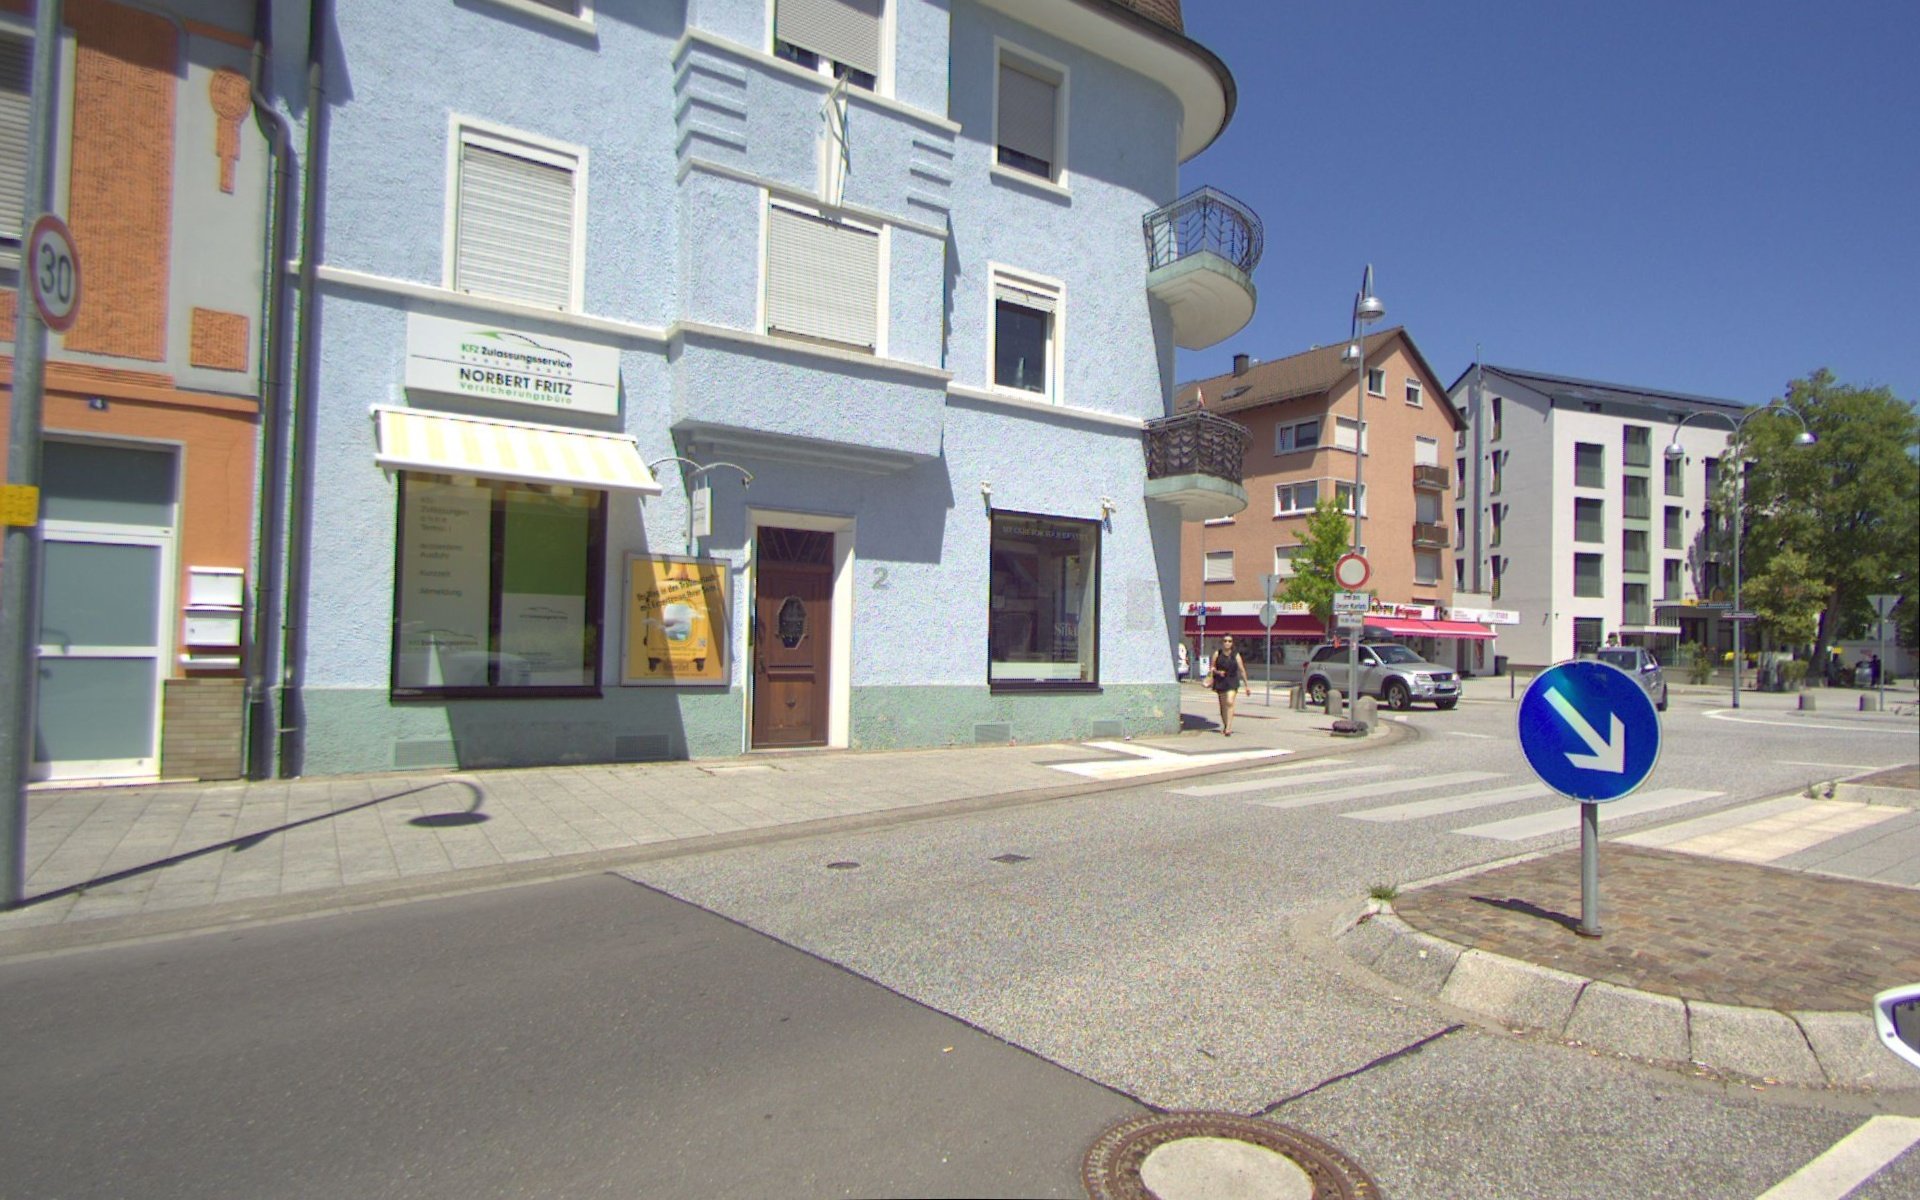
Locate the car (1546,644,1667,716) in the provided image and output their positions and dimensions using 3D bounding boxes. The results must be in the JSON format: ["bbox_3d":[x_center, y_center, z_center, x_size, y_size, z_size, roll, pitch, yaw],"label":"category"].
[{"bbox_3d":[14.277,1.720,22.126,1.559,1.469,3.450,-4,-5,44],"label":"car"}]

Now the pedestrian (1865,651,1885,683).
[{"bbox_3d":[46.704,3.422,51.245,0.554,1.596,0.534,1,-2,-19],"label":"pedestrian"}]

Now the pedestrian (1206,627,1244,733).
[{"bbox_3d":[4.082,1.223,15.492,0.535,1.606,0.515,0,-3,11],"label":"pedestrian"}]

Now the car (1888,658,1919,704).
[{"bbox_3d":[34.341,2.836,35.272,3.965,1.529,1.978,3,-3,-38],"label":"car"}]

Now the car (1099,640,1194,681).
[{"bbox_3d":[8.462,2.727,45.810,3.945,1.773,1.792,-2,-3,44],"label":"car"}]

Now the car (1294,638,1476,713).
[{"bbox_3d":[10.835,1.922,25.961,1.812,1.710,4.179,-1,-3,-24],"label":"car"}]
